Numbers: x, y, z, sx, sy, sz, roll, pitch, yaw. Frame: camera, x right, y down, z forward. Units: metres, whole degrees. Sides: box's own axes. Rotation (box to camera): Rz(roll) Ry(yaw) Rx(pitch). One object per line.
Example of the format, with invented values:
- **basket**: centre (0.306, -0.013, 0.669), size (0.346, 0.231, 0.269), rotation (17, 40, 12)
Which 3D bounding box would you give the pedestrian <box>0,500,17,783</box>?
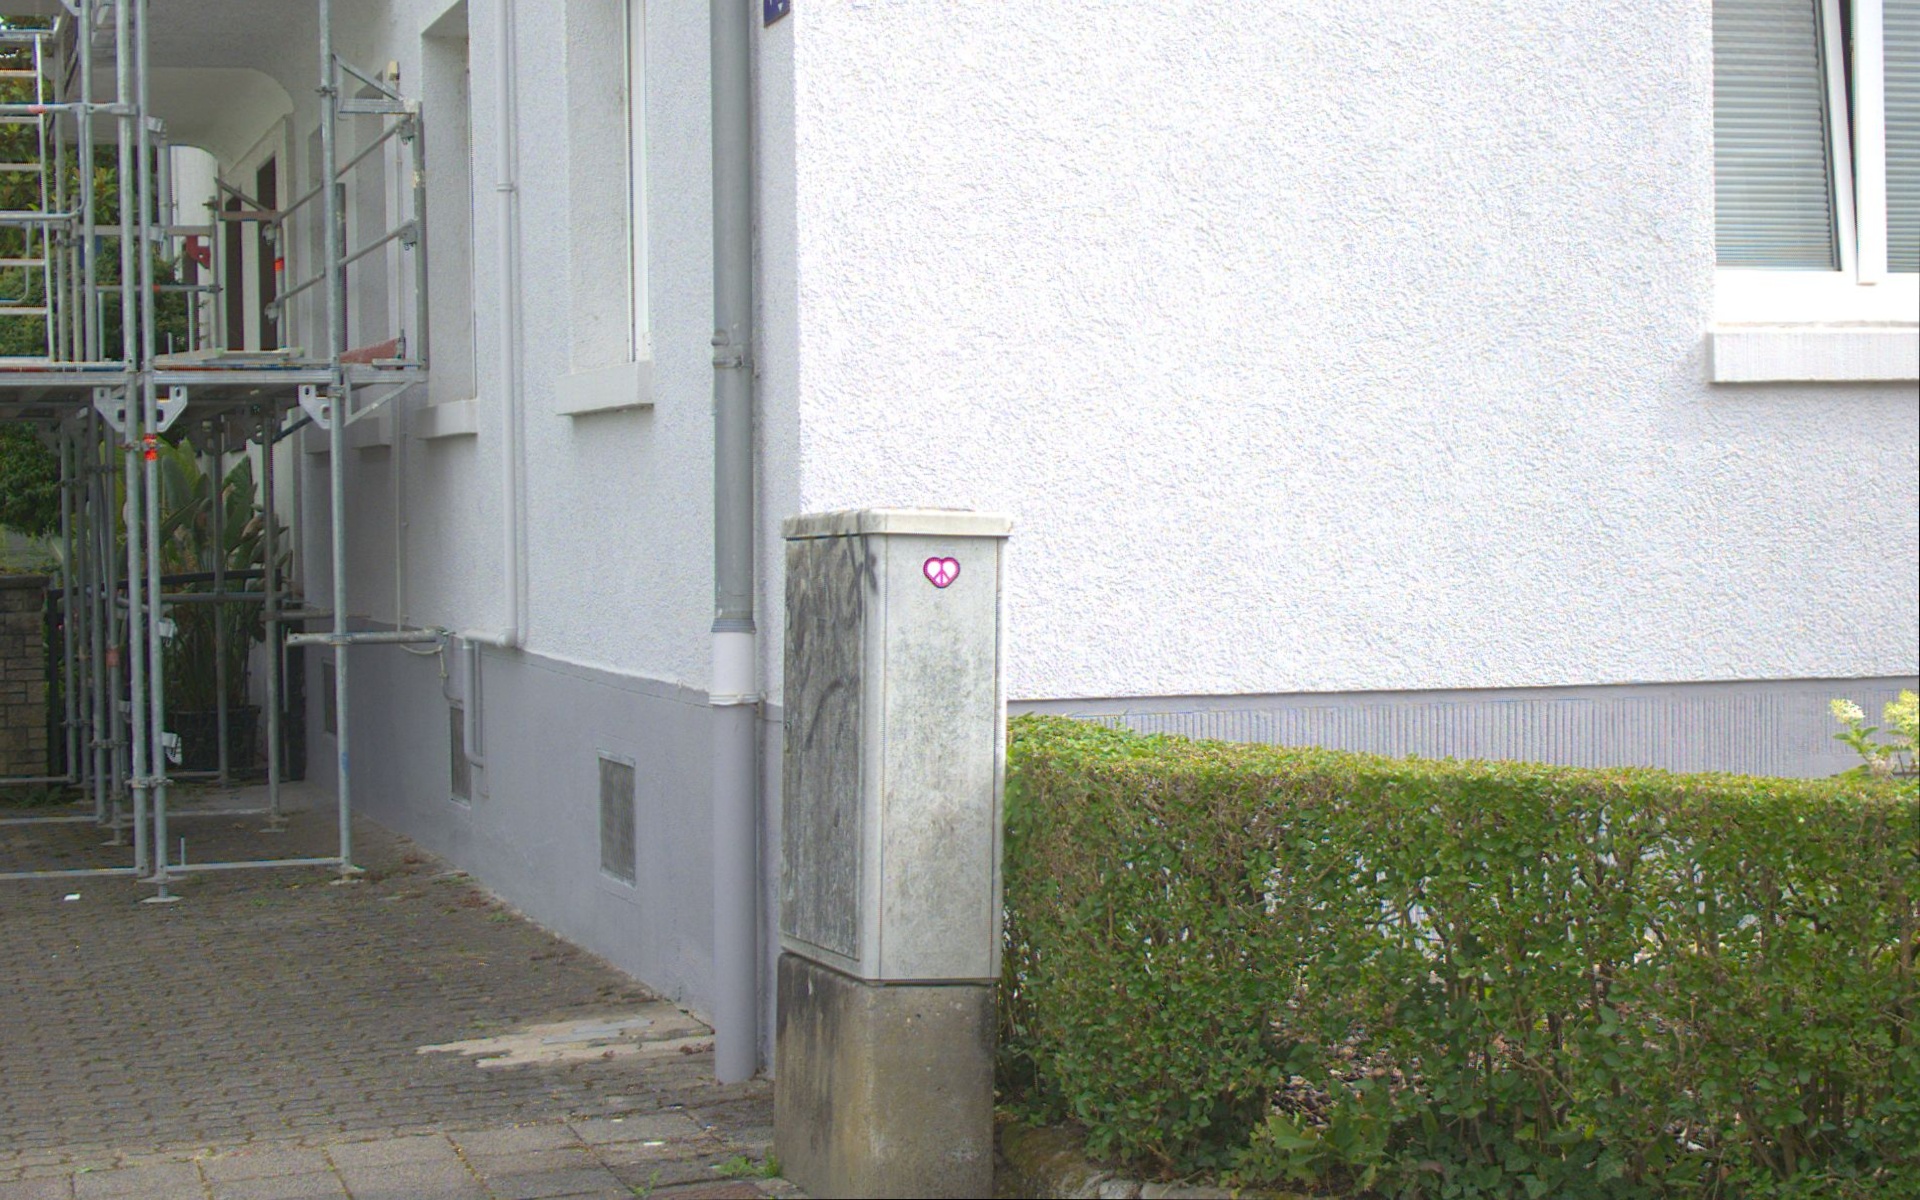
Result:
- **pedestrian**: centre (-5.862, 0.247, 19.652), size (0.602, 1.623, 0.624), rotation (-1, 0, 28)
